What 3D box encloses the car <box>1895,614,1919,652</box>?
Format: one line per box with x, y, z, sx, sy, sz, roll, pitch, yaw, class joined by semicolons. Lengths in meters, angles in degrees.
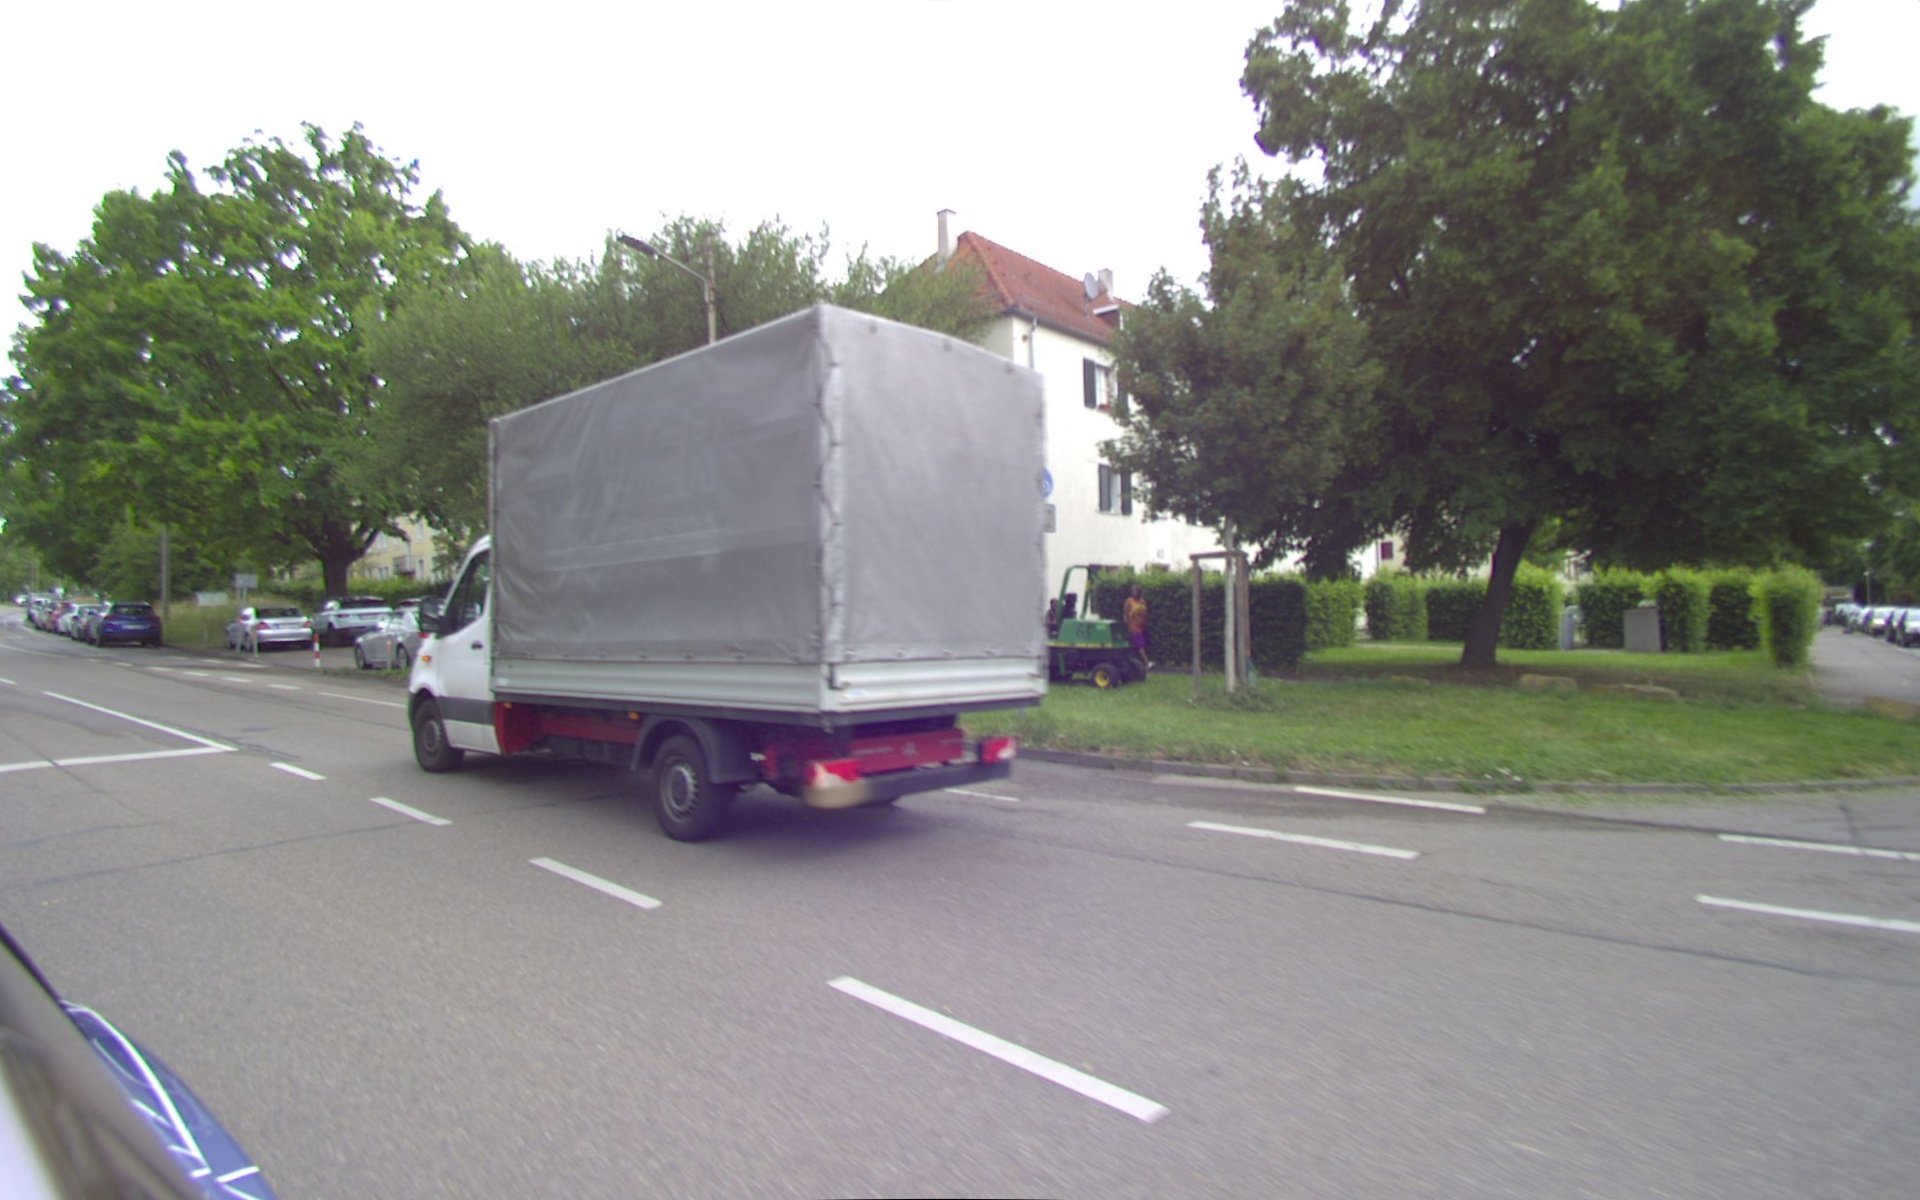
36.439;1.209;38.189;1.537;1.323;3.491;-1;0;41;car

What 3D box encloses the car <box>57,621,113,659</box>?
-39.546;1.783;45.715;1.693;1.564;3.681;-1;0;-45;car

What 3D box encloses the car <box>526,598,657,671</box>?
-10.359;0.917;28.341;3.998;1.904;1.733;-1;0;41;car

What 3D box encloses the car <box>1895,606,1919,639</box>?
40.840;0.918;42.965;1.537;1.323;3.491;-1;0;41;car

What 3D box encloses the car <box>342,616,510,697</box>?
-12.703;1.252;23.972;4.543;1.689;1.973;-1;0;40;car

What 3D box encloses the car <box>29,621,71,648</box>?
-51.210;1.900;56.953;1.599;1.408;3.681;-1;0;-45;car

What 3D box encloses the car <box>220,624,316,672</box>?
-22.207;1.490;32.431;3.998;1.364;1.584;-1;0;41;car

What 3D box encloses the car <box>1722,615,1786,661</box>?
26.395;1.215;33.614;1.584;1.391;3.405;-1;0;40;car

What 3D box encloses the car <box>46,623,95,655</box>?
-43.444;1.872;49.403;1.599;1.408;3.681;-1;0;-45;car

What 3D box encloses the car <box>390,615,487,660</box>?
-18.076;1.251;34.991;3.870;1.442;1.659;-1;0;41;car

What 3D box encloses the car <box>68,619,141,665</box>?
-34.903;1.656;41.237;1.971;1.696;4.002;-1;0;-45;car

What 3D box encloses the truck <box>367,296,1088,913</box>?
-2.544;0.064;8.665;7.215;3.262;2.340;-1;-1;42;truck

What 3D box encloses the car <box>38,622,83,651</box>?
-47.155;1.878;53.023;1.599;1.408;3.681;-1;0;-45;car

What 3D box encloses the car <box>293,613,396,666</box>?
-20.663;1.265;33.933;3.998;1.618;1.837;-1;0;41;car

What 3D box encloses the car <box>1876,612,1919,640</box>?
47.535;1.293;51.269;1.537;1.323;3.491;-1;0;41;car

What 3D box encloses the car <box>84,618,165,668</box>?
-31.035;1.537;37.547;1.971;1.696;4.002;-1;0;-45;car
